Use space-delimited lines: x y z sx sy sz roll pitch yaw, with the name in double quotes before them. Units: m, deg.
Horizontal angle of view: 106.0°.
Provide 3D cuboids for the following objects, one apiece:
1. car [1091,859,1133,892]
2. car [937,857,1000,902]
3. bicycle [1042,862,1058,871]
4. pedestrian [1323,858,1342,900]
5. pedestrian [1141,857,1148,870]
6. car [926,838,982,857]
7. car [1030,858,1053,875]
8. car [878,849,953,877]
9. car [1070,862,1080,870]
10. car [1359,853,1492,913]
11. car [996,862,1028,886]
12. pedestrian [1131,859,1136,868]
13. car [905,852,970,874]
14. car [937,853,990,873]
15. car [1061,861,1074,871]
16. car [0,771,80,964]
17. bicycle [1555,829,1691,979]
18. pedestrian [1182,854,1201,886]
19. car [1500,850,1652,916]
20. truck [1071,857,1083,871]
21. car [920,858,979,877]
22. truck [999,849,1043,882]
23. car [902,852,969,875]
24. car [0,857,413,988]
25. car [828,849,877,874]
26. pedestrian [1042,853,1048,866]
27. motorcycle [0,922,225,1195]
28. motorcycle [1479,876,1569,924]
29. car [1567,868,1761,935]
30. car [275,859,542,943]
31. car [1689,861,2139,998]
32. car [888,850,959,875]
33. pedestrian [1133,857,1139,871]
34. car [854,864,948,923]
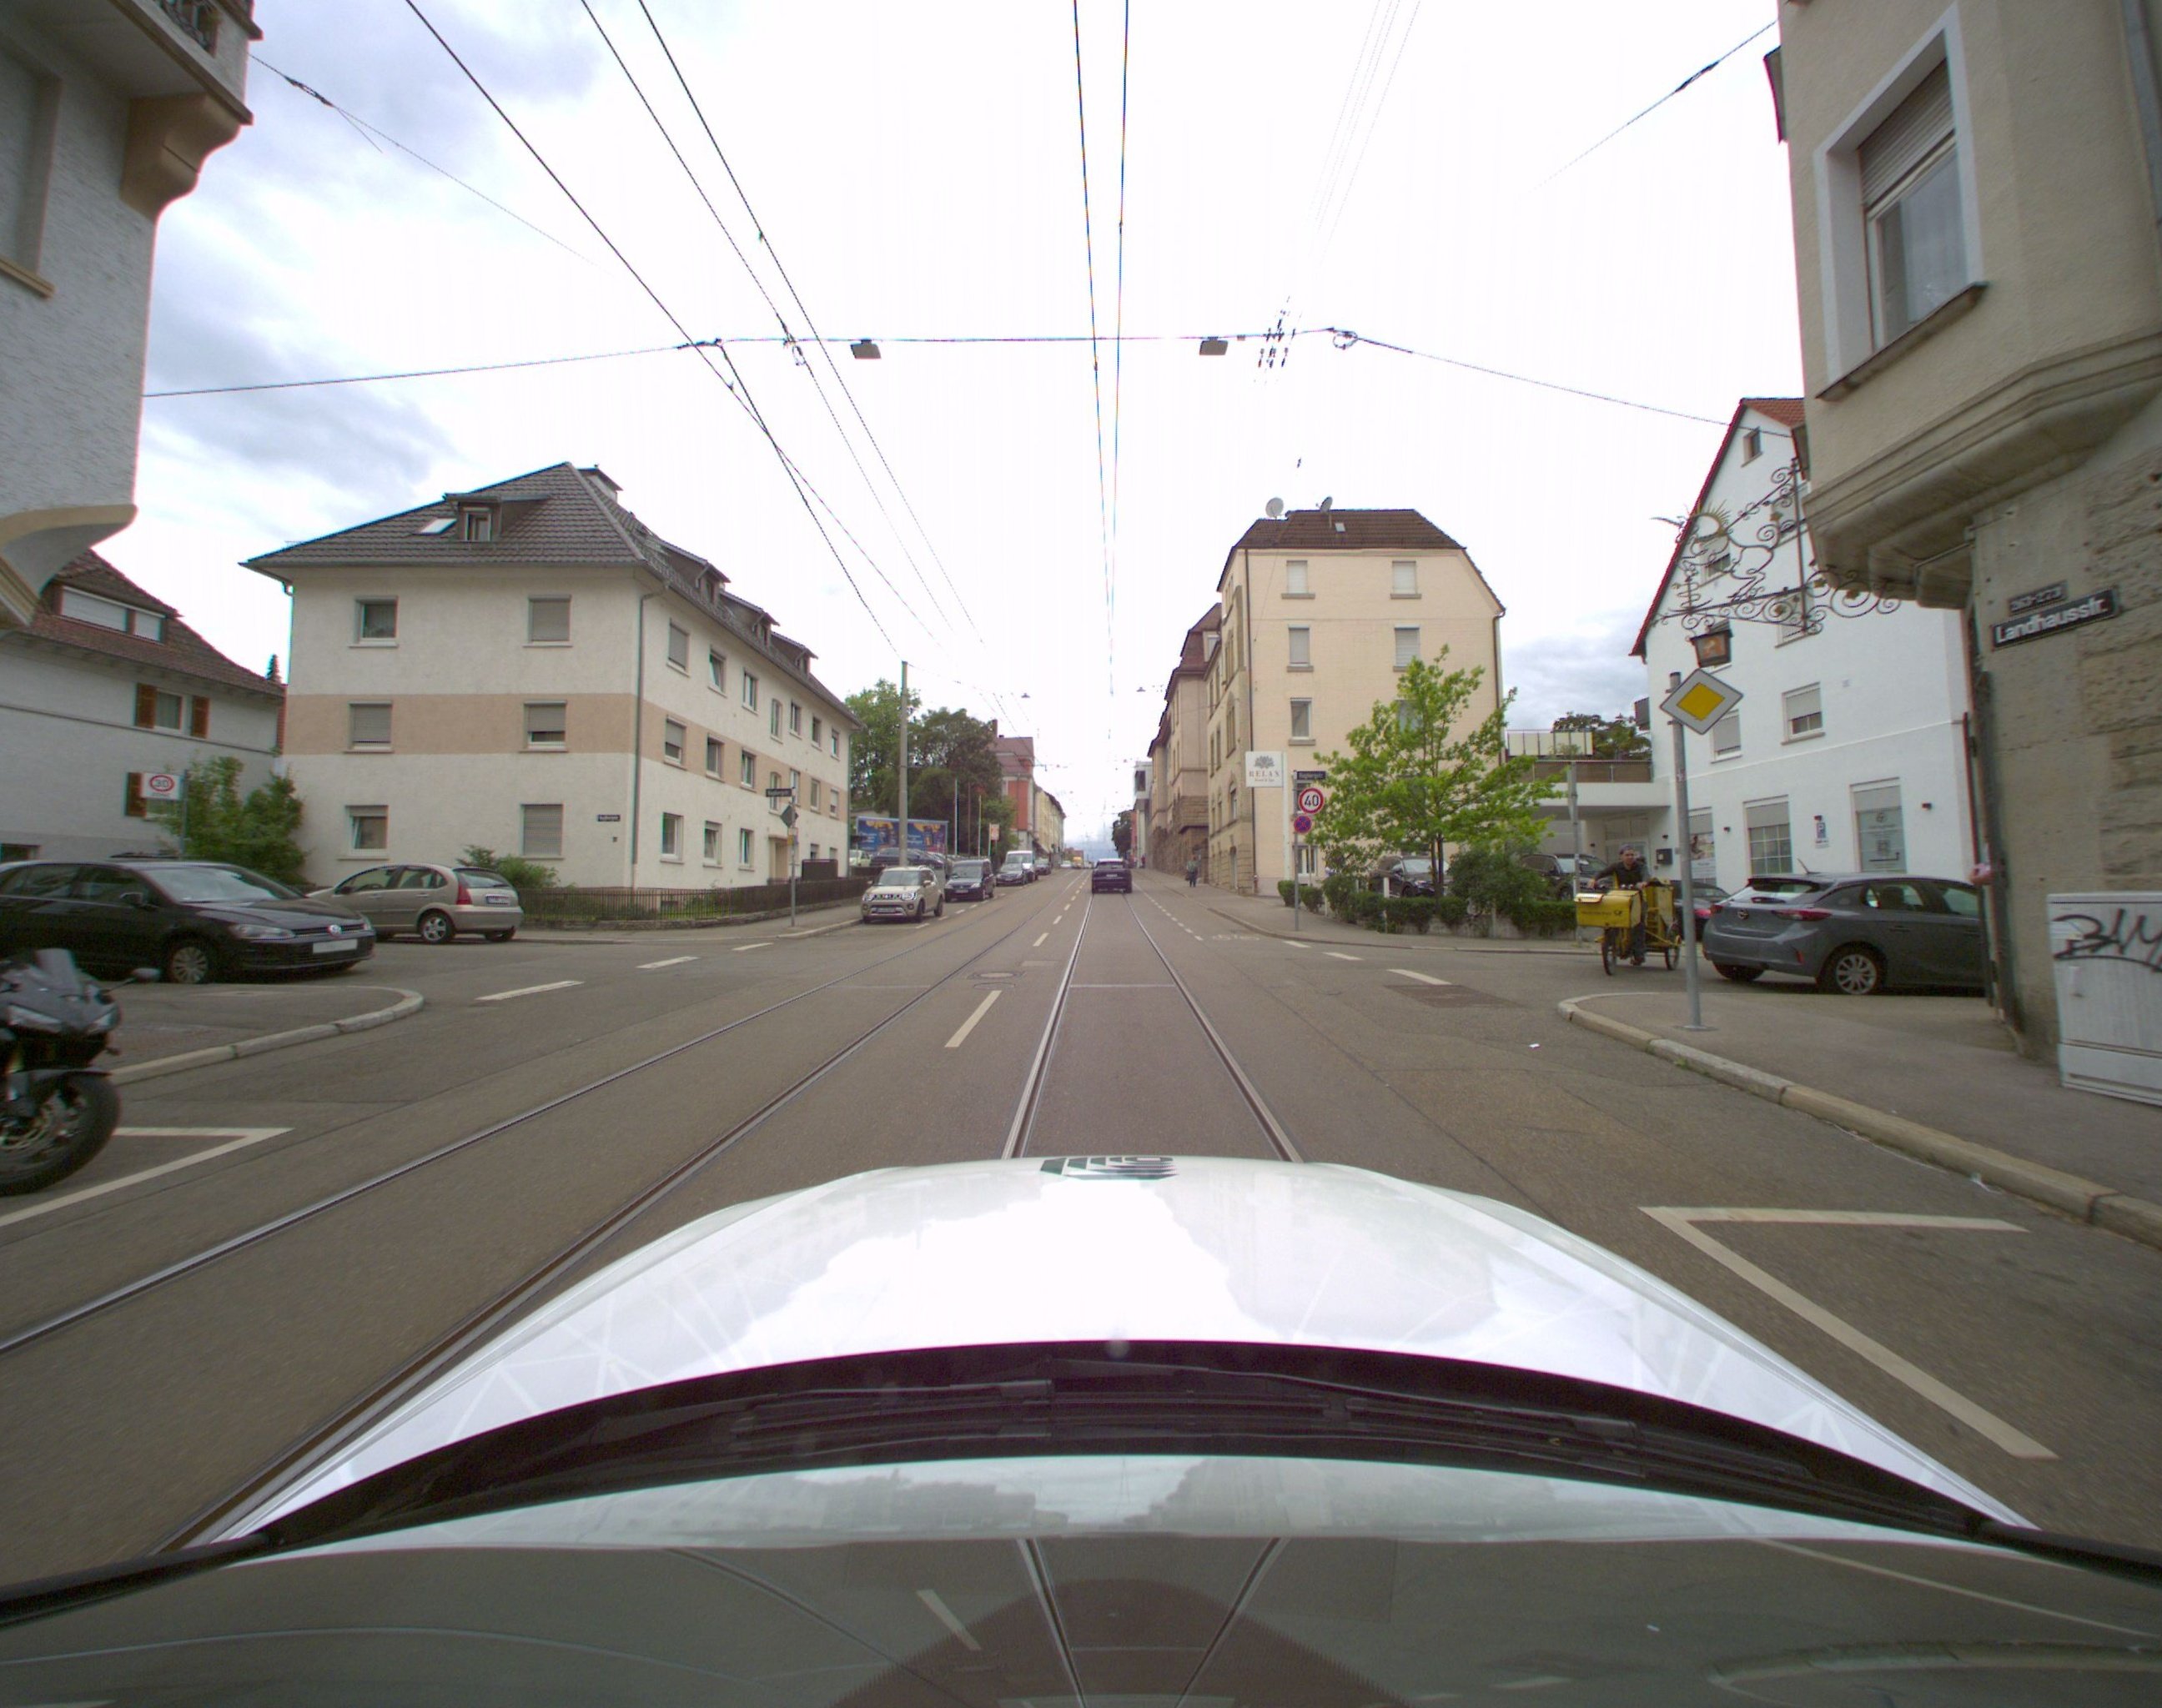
"car" 1.561 1.043 40.767 1.986 1.563 4.291 0 0 2
"car" -4.719 1.031 34.731 1.737 1.736 4.522 -2 0 3
"bicycle" -3.785 1.513 98.504 1.904 1.000 0.479 0 0 1
"pedestrian" 9.751 0.957 31.589 0.556 1.582 0.686 0 -1 2
"pedestrian" 7.805 1.173 100.236 0.788 1.667 0.799 0 0 4
"car" -9.403 -0.484 60.626 3.862 1.357 1.688 0 0 0
"car" -3.613 1.122 74.428 1.706 1.446 4.292 0 0 2
"car" -9.787 0.505 48.445 4.046 1.552 1.688 1 0 0
"car" -1.117 2.324 160.711 1.848 1.607 4.298 0 0 1
"car" 10.537 0.823 25.411 1.987 1.682 5.094 0 0 0
"car" -4.456 1.267 53.095 1.691 1.433 4.480 -2 0 0
"pedestrian" 9.718 1.671 150.352 0.788 1.667 0.799 0 0 4
"car" -9.767 0.620 55.604 4.046 1.494 1.688 0 0 0
"car" -9.165 0.675 63.233 3.964 1.551 1.680 0 0 -14
"car" -2.107 1.845 128.160 1.848 1.607 4.298 0 0 1
"car" -17.237 0.159 10.482 6.167 2.532 2.193 0 -1 3
"bicycle" 7.757 0.677 11.578 1.168 1.866 2.745 0 -3 43
"pedestrian" 5.956 0.859 44.044 0.867 1.686 0.663 -2 -1 -1
"car" 15.443 0.840 25.774 1.987 1.911 4.703 0 0 0
"truck" -0.900 2.251 181.171 2.294 3.037 9.035 0 -1 1
"car" -9.345 0.951 57.950 3.862 1.357 1.688 0 0 0
"truck" -4.260 0.798 59.617 2.271 2.188 8.030 0 0 3
"car" -9.487 0.630 53.158 4.046 1.445 1.688 0 0 0
"car" -11.076 0.783 10.211 3.971 1.464 1.755 0 -1 3
"car" -13.858 0.446 49.568 1.676 1.494 3.891 0 0 3
"pedestrian" -4.964 0.812 112.813 0.772 1.776 0.650 0 -1 2
"motorcycle" -5.693 0.969 4.230 2.093 1.134 0.769 -2 0 15
"motorcycle" 10.903 1.162 20.157 0.924 1.105 2.383 1 -4 0
"car" 14.712 1.129 20.904 1.904 1.354 4.326 0 1 0
"car" -12.697 0.925 15.557 3.501 1.493 1.777 0 -5 2
"car" 9.735 0.838 9.719 3.835 1.464 1.580 1 0 -1
"car" -9.780 0.543 50.729 4.046 1.524 1.739 0 0 0
"pedestrian" 6.791 1.199 100.303 0.788 1.667 0.799 0 0 4
"car" -5.167 1.093 23.884 1.690 1.556 3.853 0 0 3
